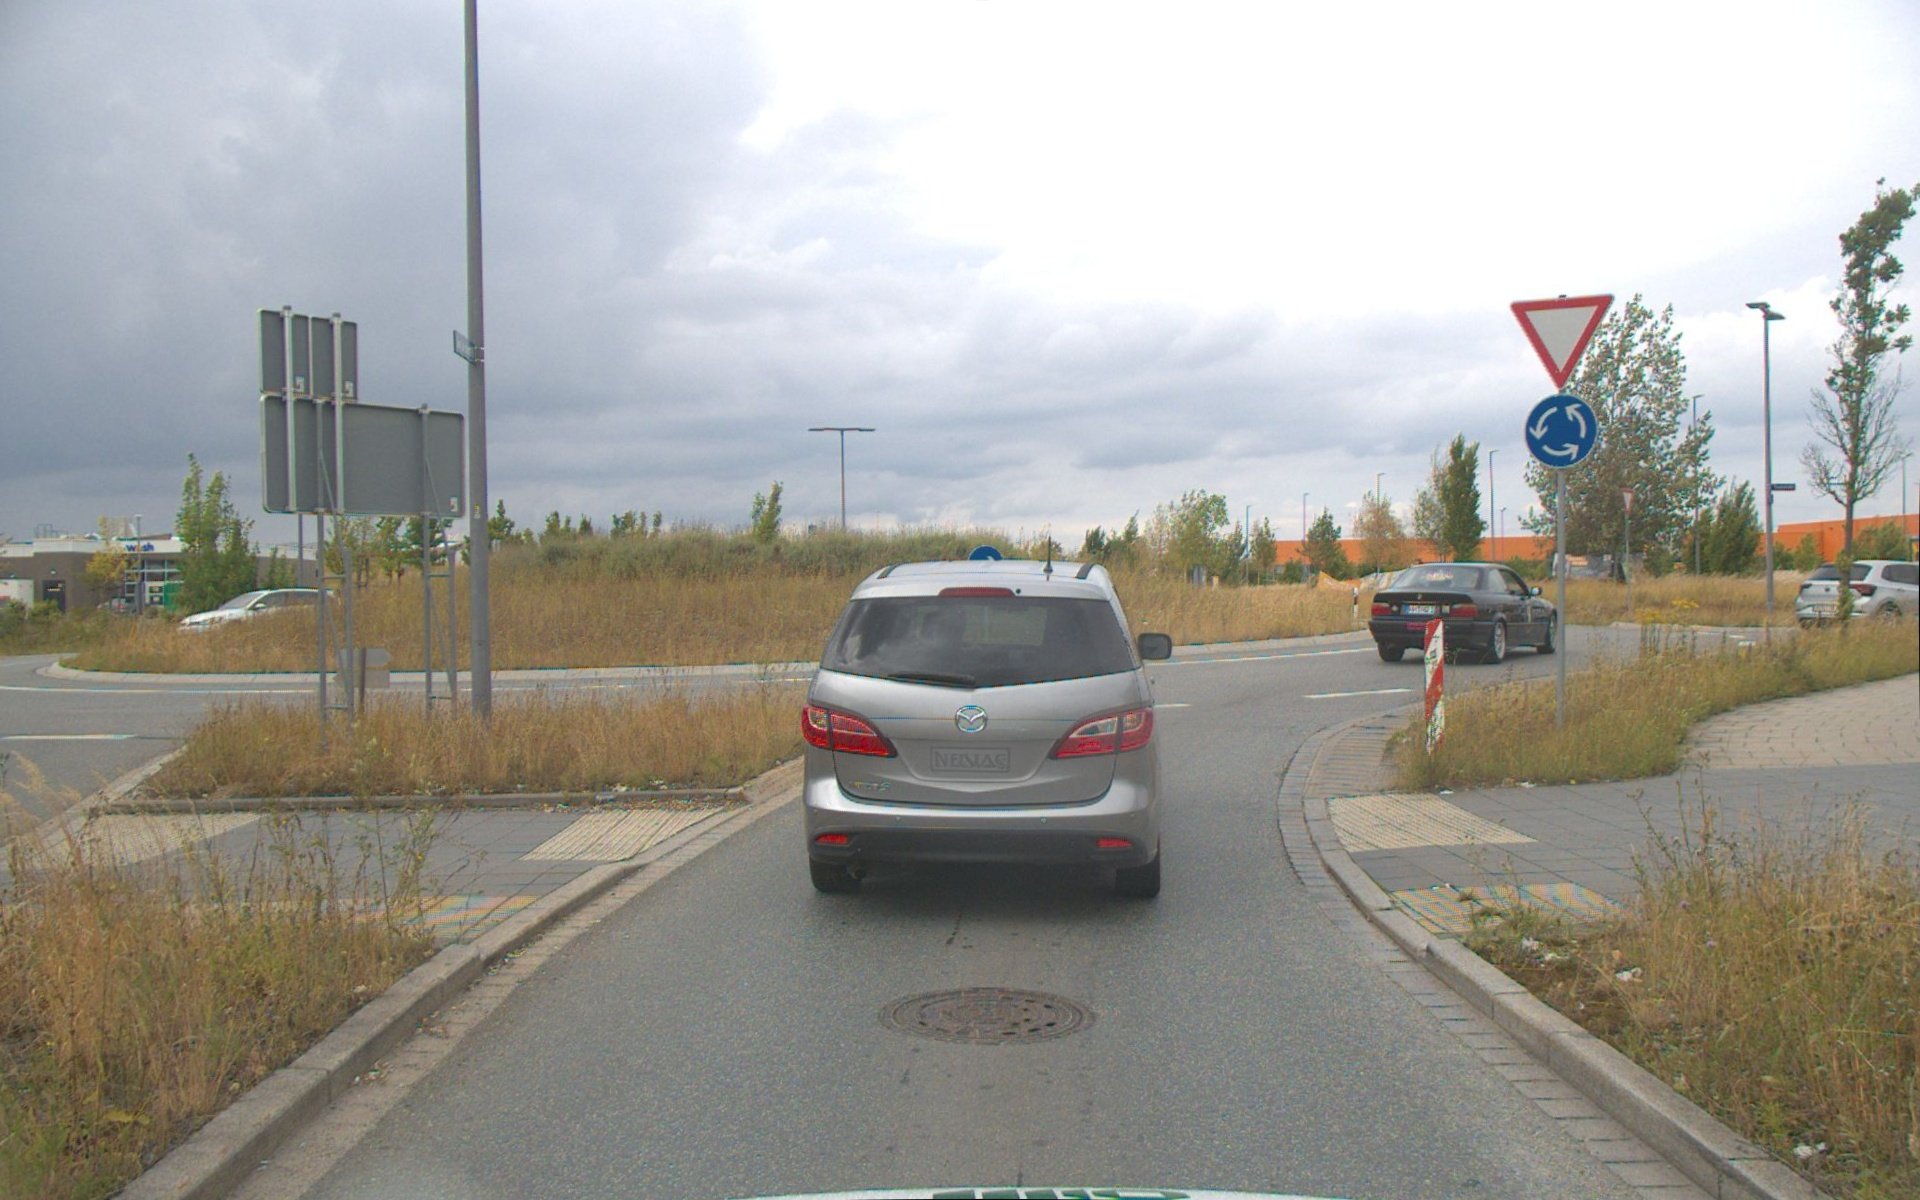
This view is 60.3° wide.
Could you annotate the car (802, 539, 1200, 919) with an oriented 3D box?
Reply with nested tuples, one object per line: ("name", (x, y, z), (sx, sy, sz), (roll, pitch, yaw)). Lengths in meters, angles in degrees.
("car", (0.226, 0.513, 9.133), (1.702, 1.626, 3.999), (0, 1, 1))

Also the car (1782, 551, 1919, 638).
("car", (17.726, -0.148, 31.326), (3.936, 1.489, 1.800), (-2, 3, -25))

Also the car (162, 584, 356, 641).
("car", (-18.585, 0.361, 44.055), (1.691, 1.433, 4.632), (0, -1, 31))

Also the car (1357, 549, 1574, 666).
("car", (7.236, 0.033, 23.457), (1.709, 1.428, 3.982), (2, 3, 37))
